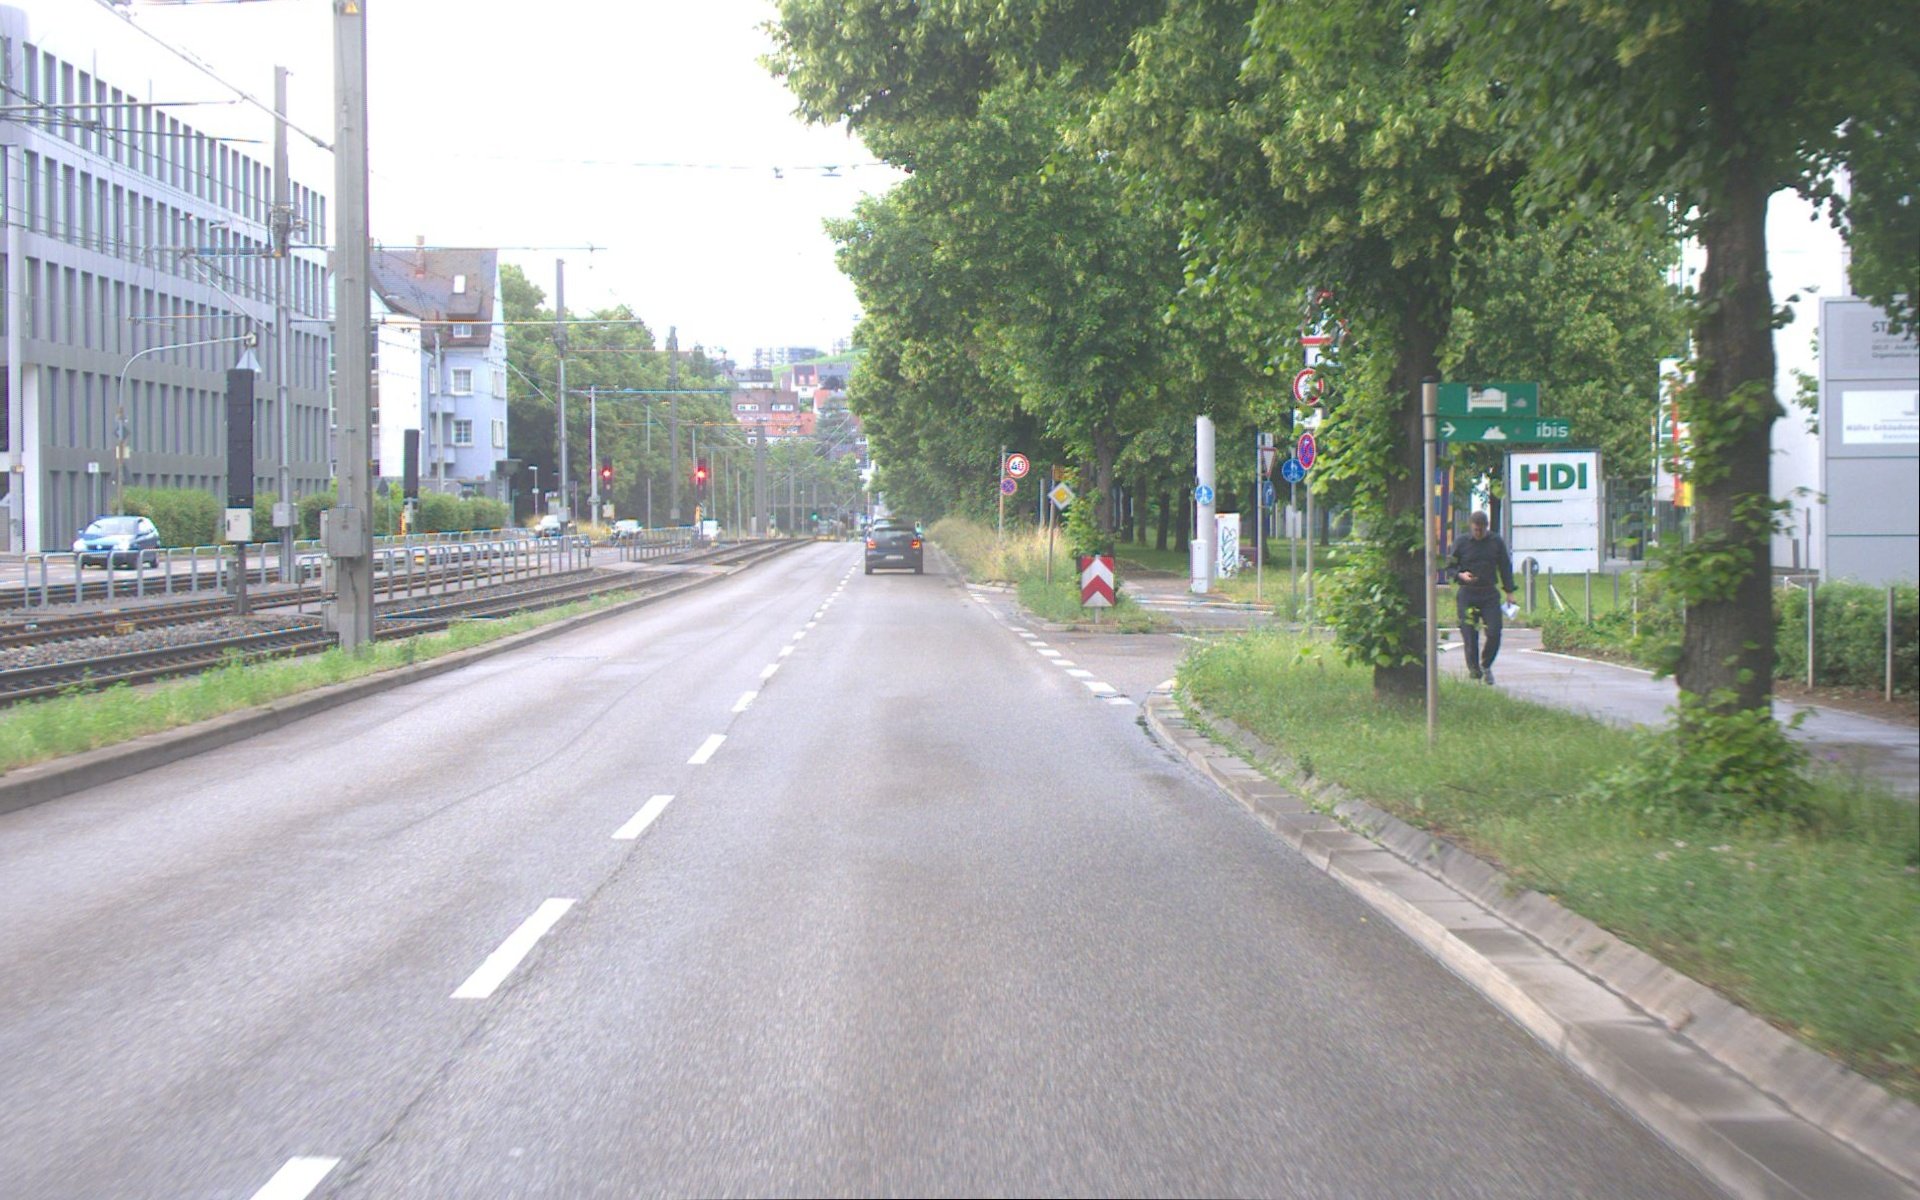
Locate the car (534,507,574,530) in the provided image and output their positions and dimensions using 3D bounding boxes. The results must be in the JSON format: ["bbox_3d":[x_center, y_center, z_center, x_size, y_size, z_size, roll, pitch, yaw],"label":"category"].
[{"bbox_3d":[-21.880,-4.418,185.449,1.756,1.239,3.988,0,1,-1],"label":"car"}]

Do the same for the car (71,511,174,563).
[{"bbox_3d":[-22.829,-1.719,93.811,1.761,1.392,3.900,0,1,2],"label":"car"}]

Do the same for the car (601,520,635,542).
[{"bbox_3d":[-21.883,-4.424,220.098,1.798,1.342,4.260,0,1,-1],"label":"car"}]

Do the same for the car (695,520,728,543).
[{"bbox_3d":[-17.443,-4.814,241.230,1.902,1.639,4.884,0,1,1],"label":"car"}]

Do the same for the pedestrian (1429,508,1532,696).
[{"bbox_3d":[5.068,0.013,33.505,0.826,1.791,0.868,1,1,0],"label":"pedestrian"}]

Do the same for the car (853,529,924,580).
[{"bbox_3d":[-2.033,-1.322,98.846,1.982,1.435,4.474,0,1,-1],"label":"car"}]
